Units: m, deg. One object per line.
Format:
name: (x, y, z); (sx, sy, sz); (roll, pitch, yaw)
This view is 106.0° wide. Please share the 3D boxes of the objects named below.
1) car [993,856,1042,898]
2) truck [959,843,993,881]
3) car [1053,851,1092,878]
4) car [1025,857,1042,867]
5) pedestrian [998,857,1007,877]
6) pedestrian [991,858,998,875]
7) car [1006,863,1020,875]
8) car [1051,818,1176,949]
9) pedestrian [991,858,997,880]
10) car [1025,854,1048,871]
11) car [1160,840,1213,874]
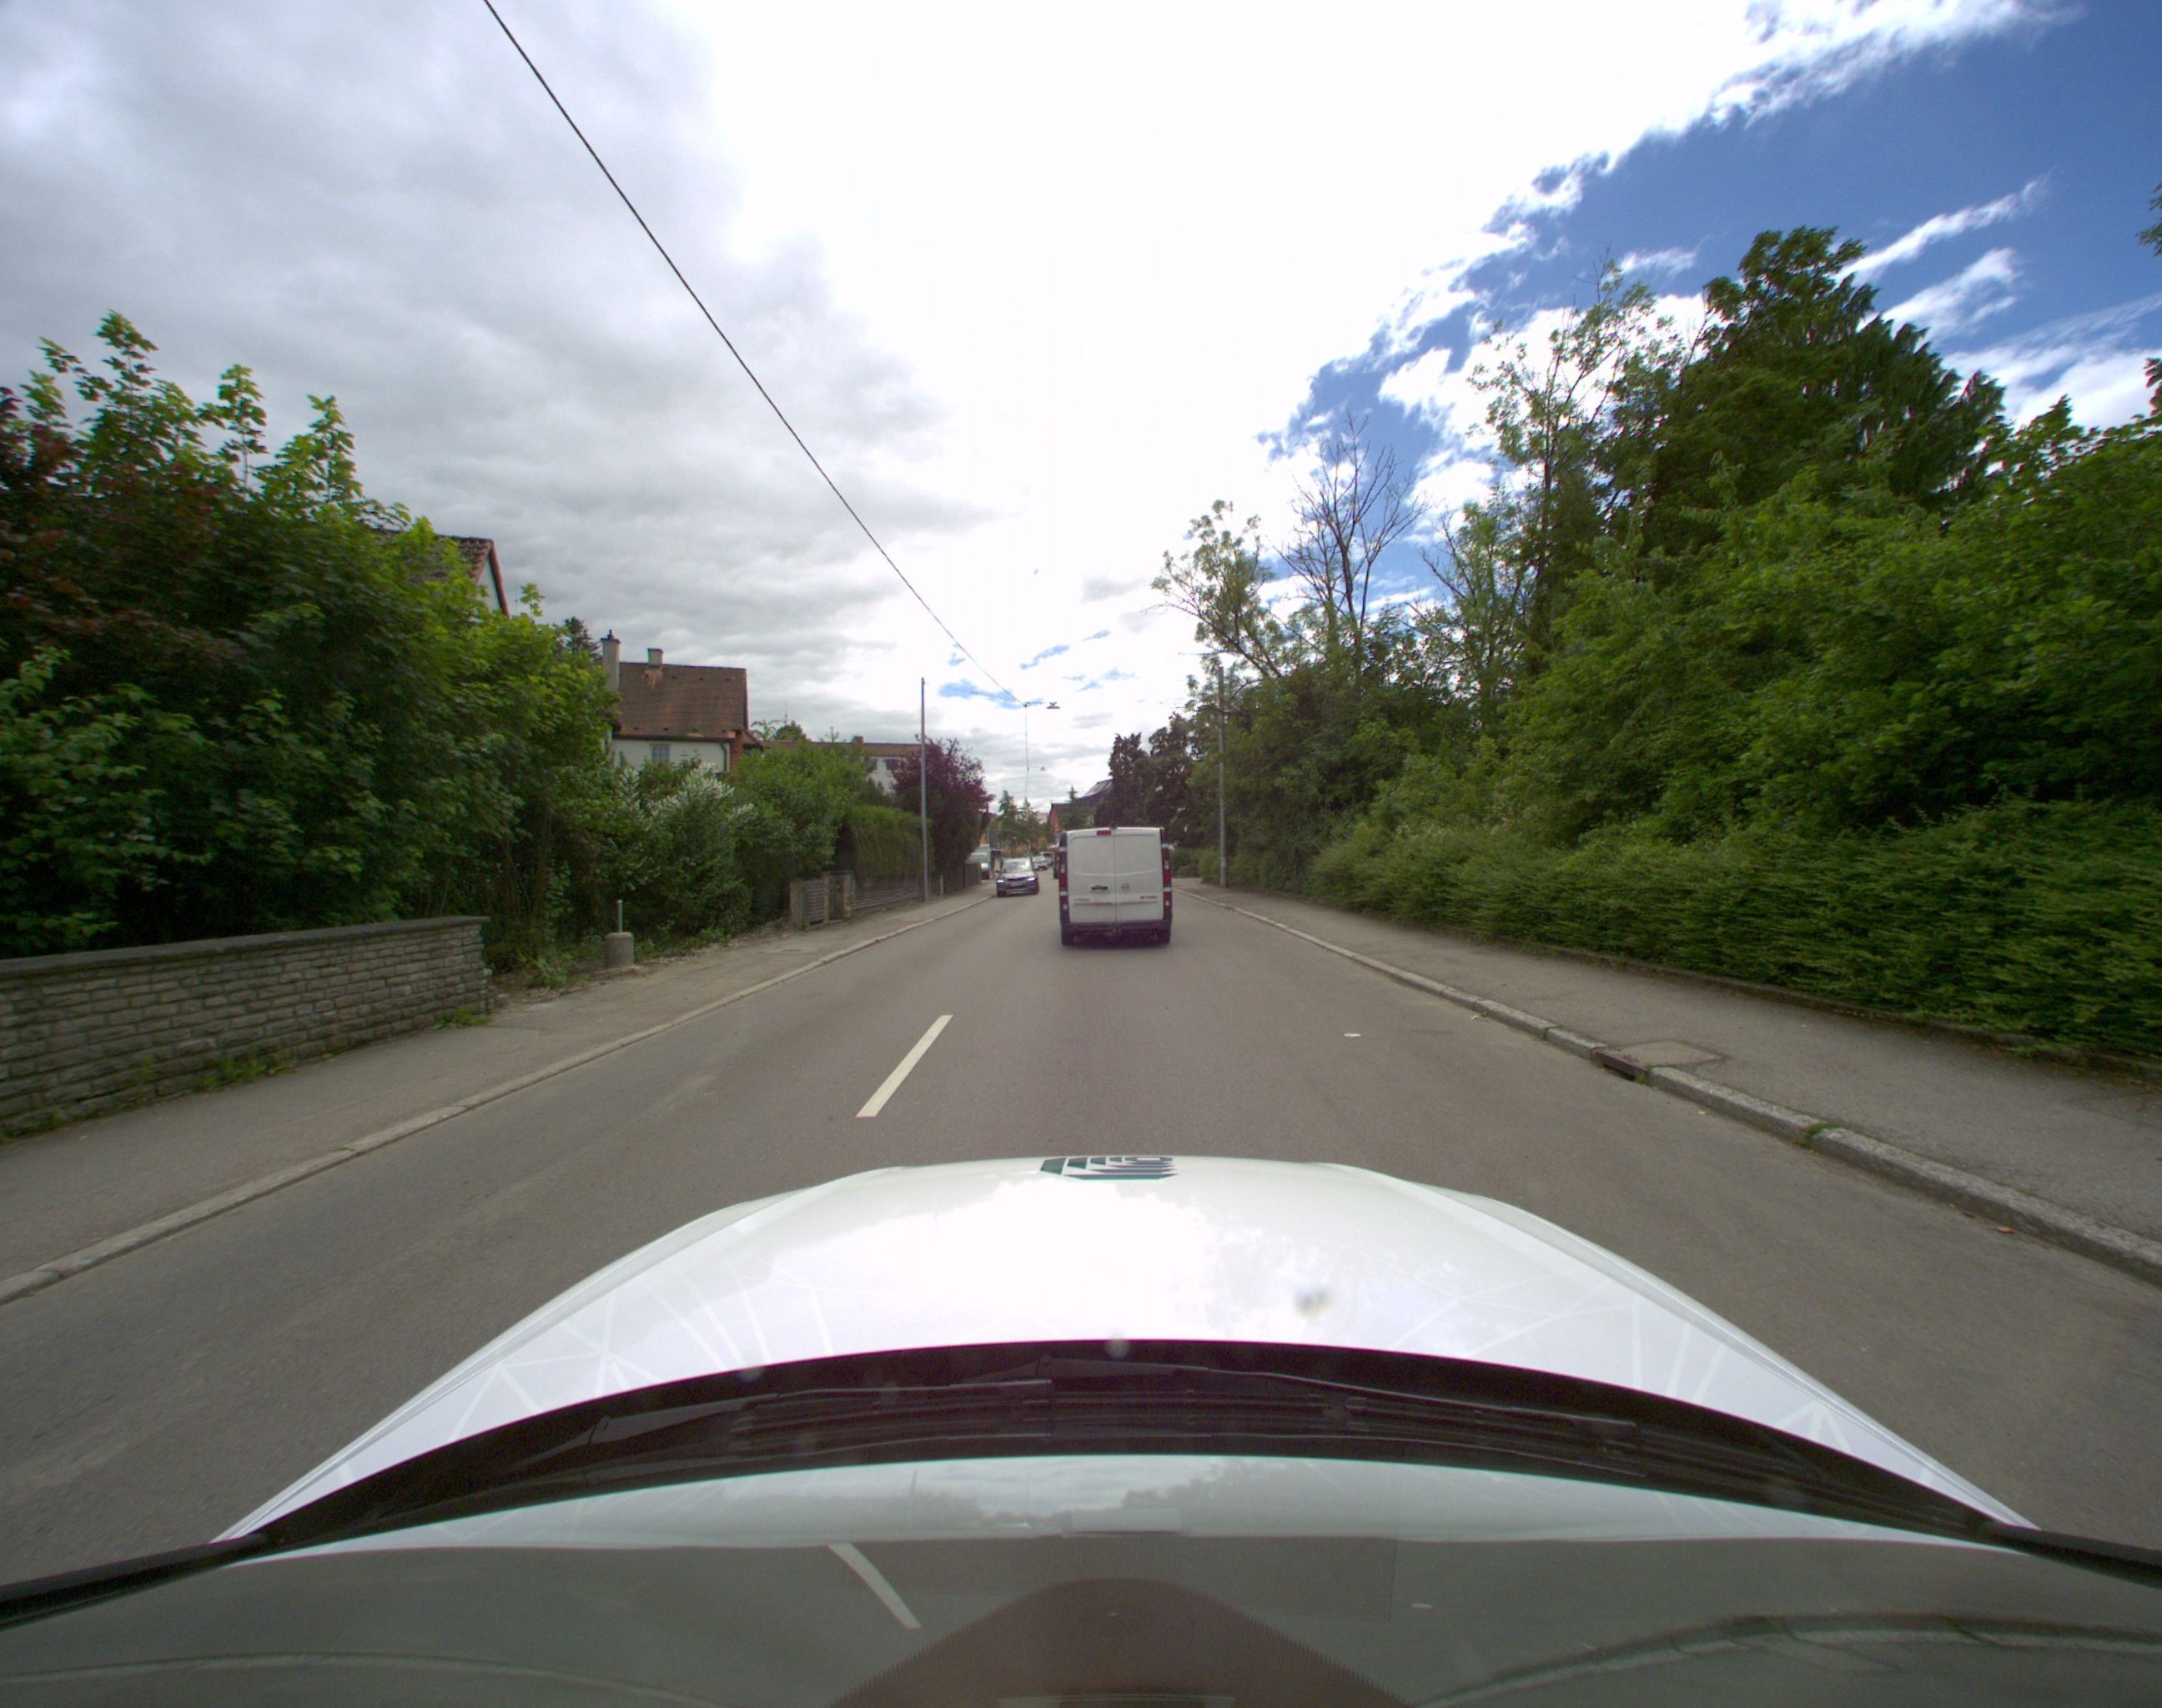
car: (-2.811, 0.989, 36.659); (1.835, 1.655, 4.136); (-4, -1, -1)
truck: (-8.414, 0.612, 64.762); (2.472, 2.840, 6.686); (-1, -1, -9)
car: (-0.667, 0.796, 59.626); (1.995, 1.848, 3.983); (-2, 0, -12)
car: (-7.212, 1.163, 123.128); (1.745, 1.495, 3.636); (1, -1, -15)
pedestrian: (-7.011, 1.157, 72.880); (0.721, 1.687, 1.108); (1, -1, -4)
pedestrian: (-10.071, 1.403, 94.797); (0.731, 1.946, 1.216); (1, -1, -4)
car: (-8.605, 1.927, 103.459); (1.690, 1.432, 3.922); (-2, -1, -3)
car: (0.533, 0.485, 15.044); (1.909, 2.003, 4.437); (-2, -1, 0)
pedestrian: (-6.974, 1.188, 65.165); (0.401, 1.695, 0.595); (1, -1, -9)
car: (-5.212, 1.001, 94.966); (1.995, 1.782, 3.983); (-2, 0, -12)
car: (8.607, 0.262, 67.078); (2.502, 2.682, 5.158); (1, -1, -16)
